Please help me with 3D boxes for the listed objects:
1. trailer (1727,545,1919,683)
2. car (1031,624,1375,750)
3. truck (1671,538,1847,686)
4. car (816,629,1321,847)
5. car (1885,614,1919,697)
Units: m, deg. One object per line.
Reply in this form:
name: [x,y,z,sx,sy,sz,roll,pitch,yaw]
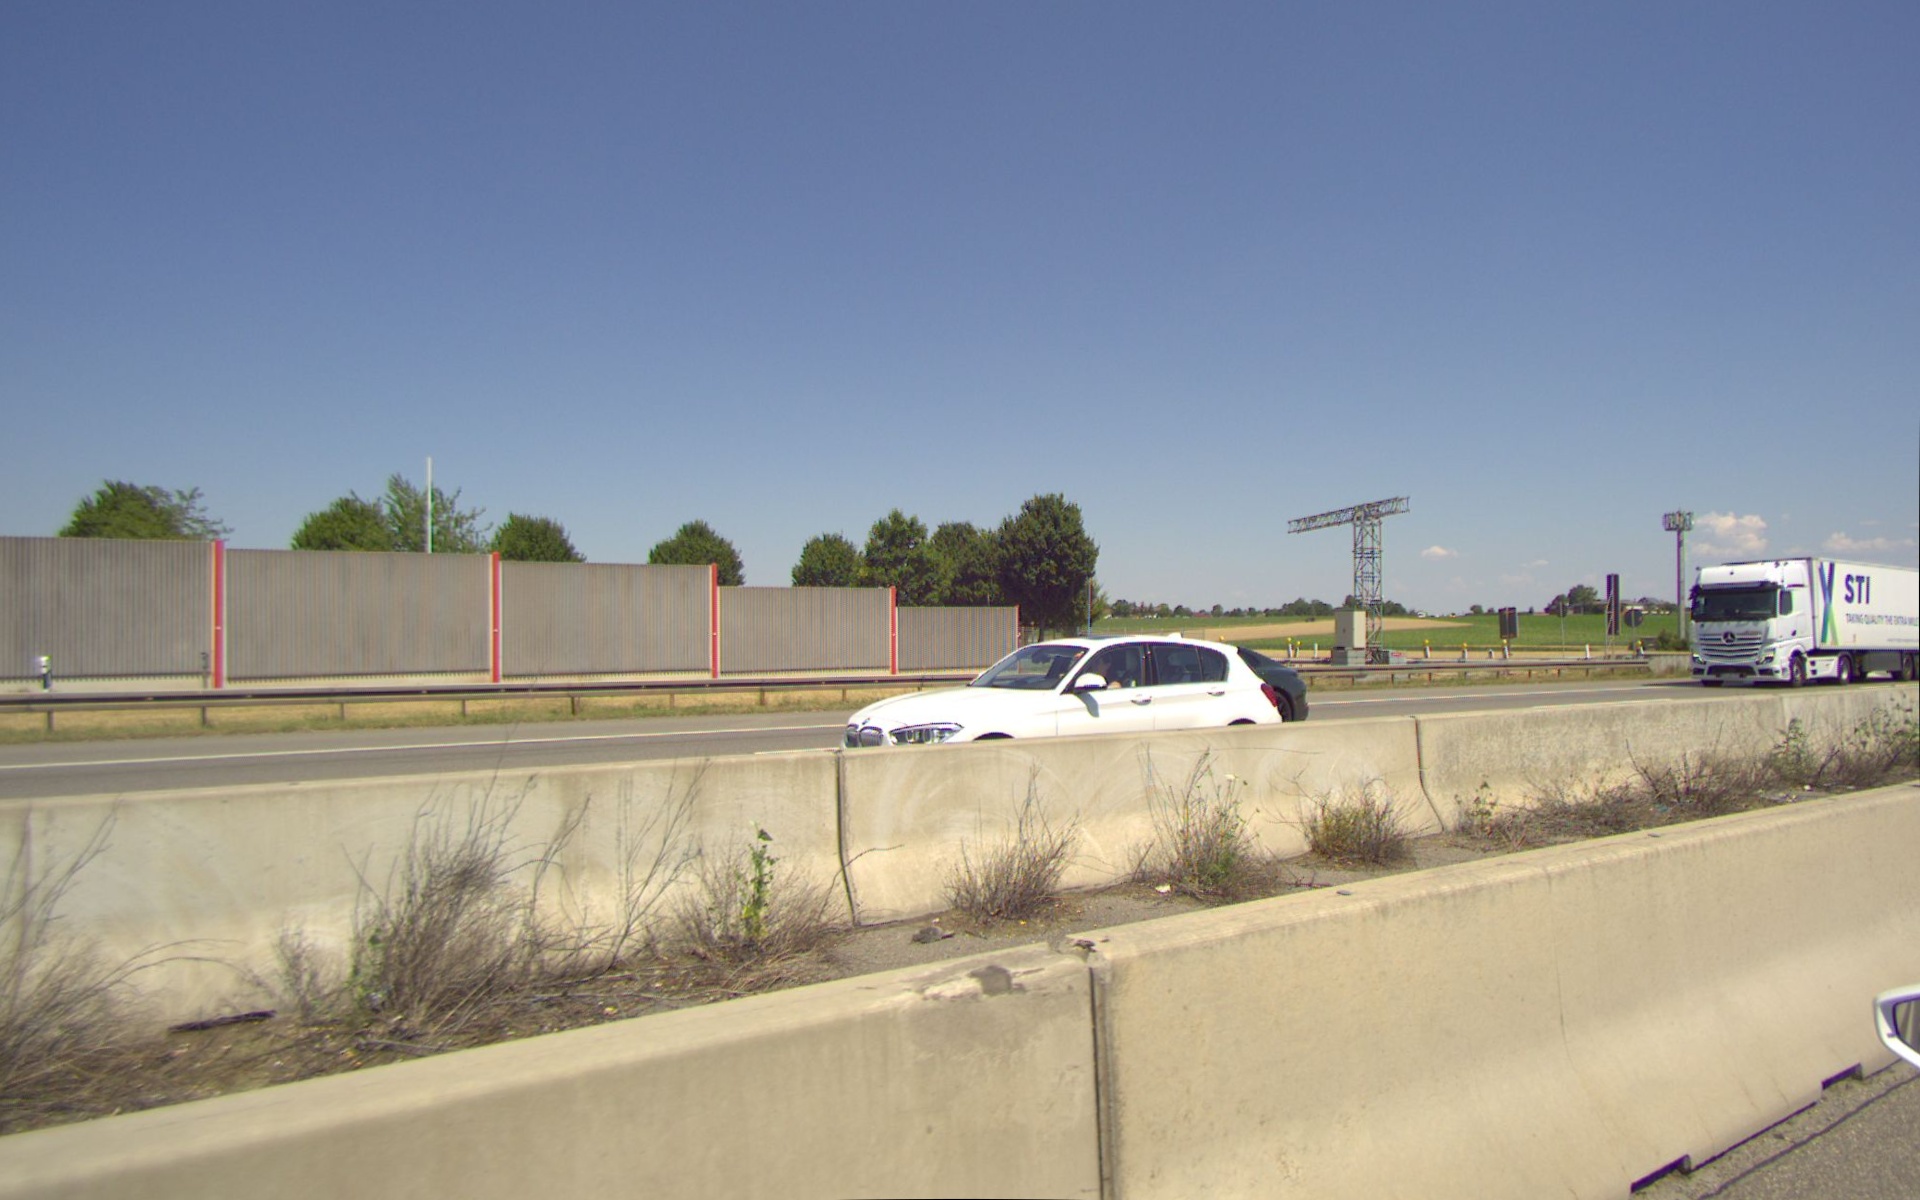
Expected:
trailer: [32.812,0.628,36.745,12.842,4.432,2.879,1,-3,-31]
car: [3.544,1.145,14.295,4.906,1.505,1.803,2,-1,-31]
truck: [25.973,0.475,32.662,4.846,4.432,2.857,1,-3,-31]
car: [1.093,1.074,9.113,4.456,1.539,1.666,2,-1,-31]
car: [21.355,1.168,20.866,4.765,1.638,1.881,2,-1,-31]
